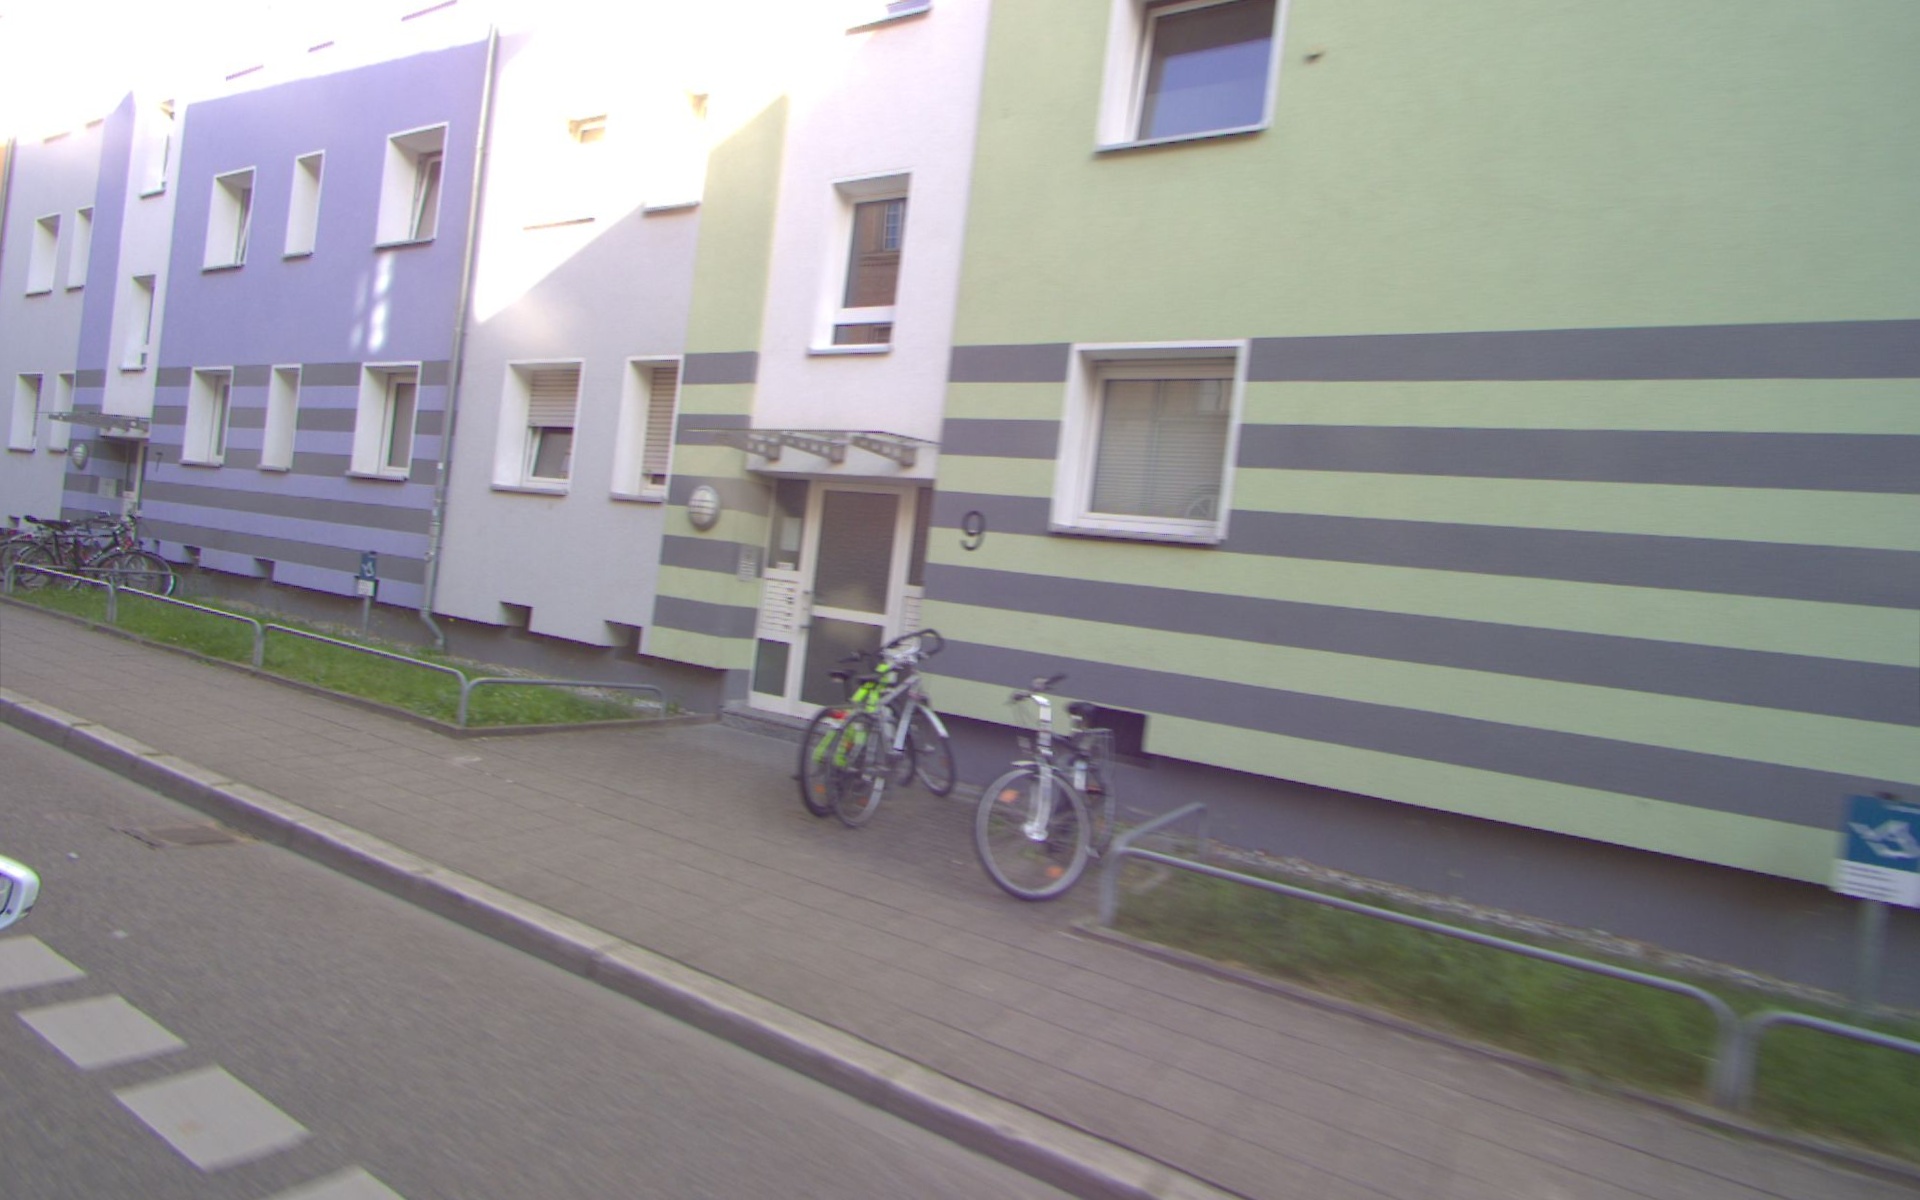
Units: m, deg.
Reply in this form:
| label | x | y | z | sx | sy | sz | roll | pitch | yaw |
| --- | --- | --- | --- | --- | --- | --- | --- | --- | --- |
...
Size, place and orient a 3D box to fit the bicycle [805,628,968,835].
| label | x | y | z | sx | sy | sz | roll | pitch | yaw |
| --- | --- | --- | --- | --- | --- | --- | --- | --- | --- |
| bicycle | -0.436 | 0.791 | 6.684 | 0.278 | 1.157 | 1.643 | 7 | 3 | 22 |

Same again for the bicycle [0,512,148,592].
| label | x | y | z | sx | sy | sz | roll | pitch | yaw |
| --- | --- | --- | --- | --- | --- | --- | --- | --- | --- |
| bicycle | -12.676 | -0.670 | 14.266 | 0.329 | 0.958 | 1.751 | 7 | 0 | 30 |

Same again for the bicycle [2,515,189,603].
| label | x | y | z | sx | sy | sz | roll | pitch | yaw |
| --- | --- | --- | --- | --- | --- | --- | --- | --- | --- |
| bicycle | -11.426 | -0.518 | 13.364 | 0.542 | 0.958 | 1.751 | 7 | 0 | 30 |

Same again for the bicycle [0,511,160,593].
| label | x | y | z | sx | sy | sz | roll | pitch | yaw |
| --- | --- | --- | --- | --- | --- | --- | --- | --- | --- |
| bicycle | -12.340 | -0.649 | 14.076 | 0.320 | 0.958 | 1.750 | 7 | 0 | 31 |

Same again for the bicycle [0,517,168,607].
| label | x | y | z | sx | sy | sz | roll | pitch | yaw |
| --- | --- | --- | --- | --- | --- | --- | --- | --- | --- |
| bicycle | -11.140 | -0.467 | 12.637 | 0.542 | 0.958 | 1.751 | 7 | 0 | 30 |

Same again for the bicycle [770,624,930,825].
| label | x | y | z | sx | sy | sz | roll | pitch | yaw |
| --- | --- | --- | --- | --- | --- | --- | --- | --- | --- |
| bicycle | -0.689 | 0.762 | 6.778 | 0.233 | 1.157 | 1.605 | 7 | 3 | 22 |

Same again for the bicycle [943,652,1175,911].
| label | x | y | z | sx | sy | sz | roll | pitch | yaw |
| --- | --- | --- | --- | --- | --- | --- | --- | --- | --- |
| bicycle | 0.634 | 0.934 | 5.776 | 0.542 | 1.157 | 1.749 | 8 | 3 | 30 |
